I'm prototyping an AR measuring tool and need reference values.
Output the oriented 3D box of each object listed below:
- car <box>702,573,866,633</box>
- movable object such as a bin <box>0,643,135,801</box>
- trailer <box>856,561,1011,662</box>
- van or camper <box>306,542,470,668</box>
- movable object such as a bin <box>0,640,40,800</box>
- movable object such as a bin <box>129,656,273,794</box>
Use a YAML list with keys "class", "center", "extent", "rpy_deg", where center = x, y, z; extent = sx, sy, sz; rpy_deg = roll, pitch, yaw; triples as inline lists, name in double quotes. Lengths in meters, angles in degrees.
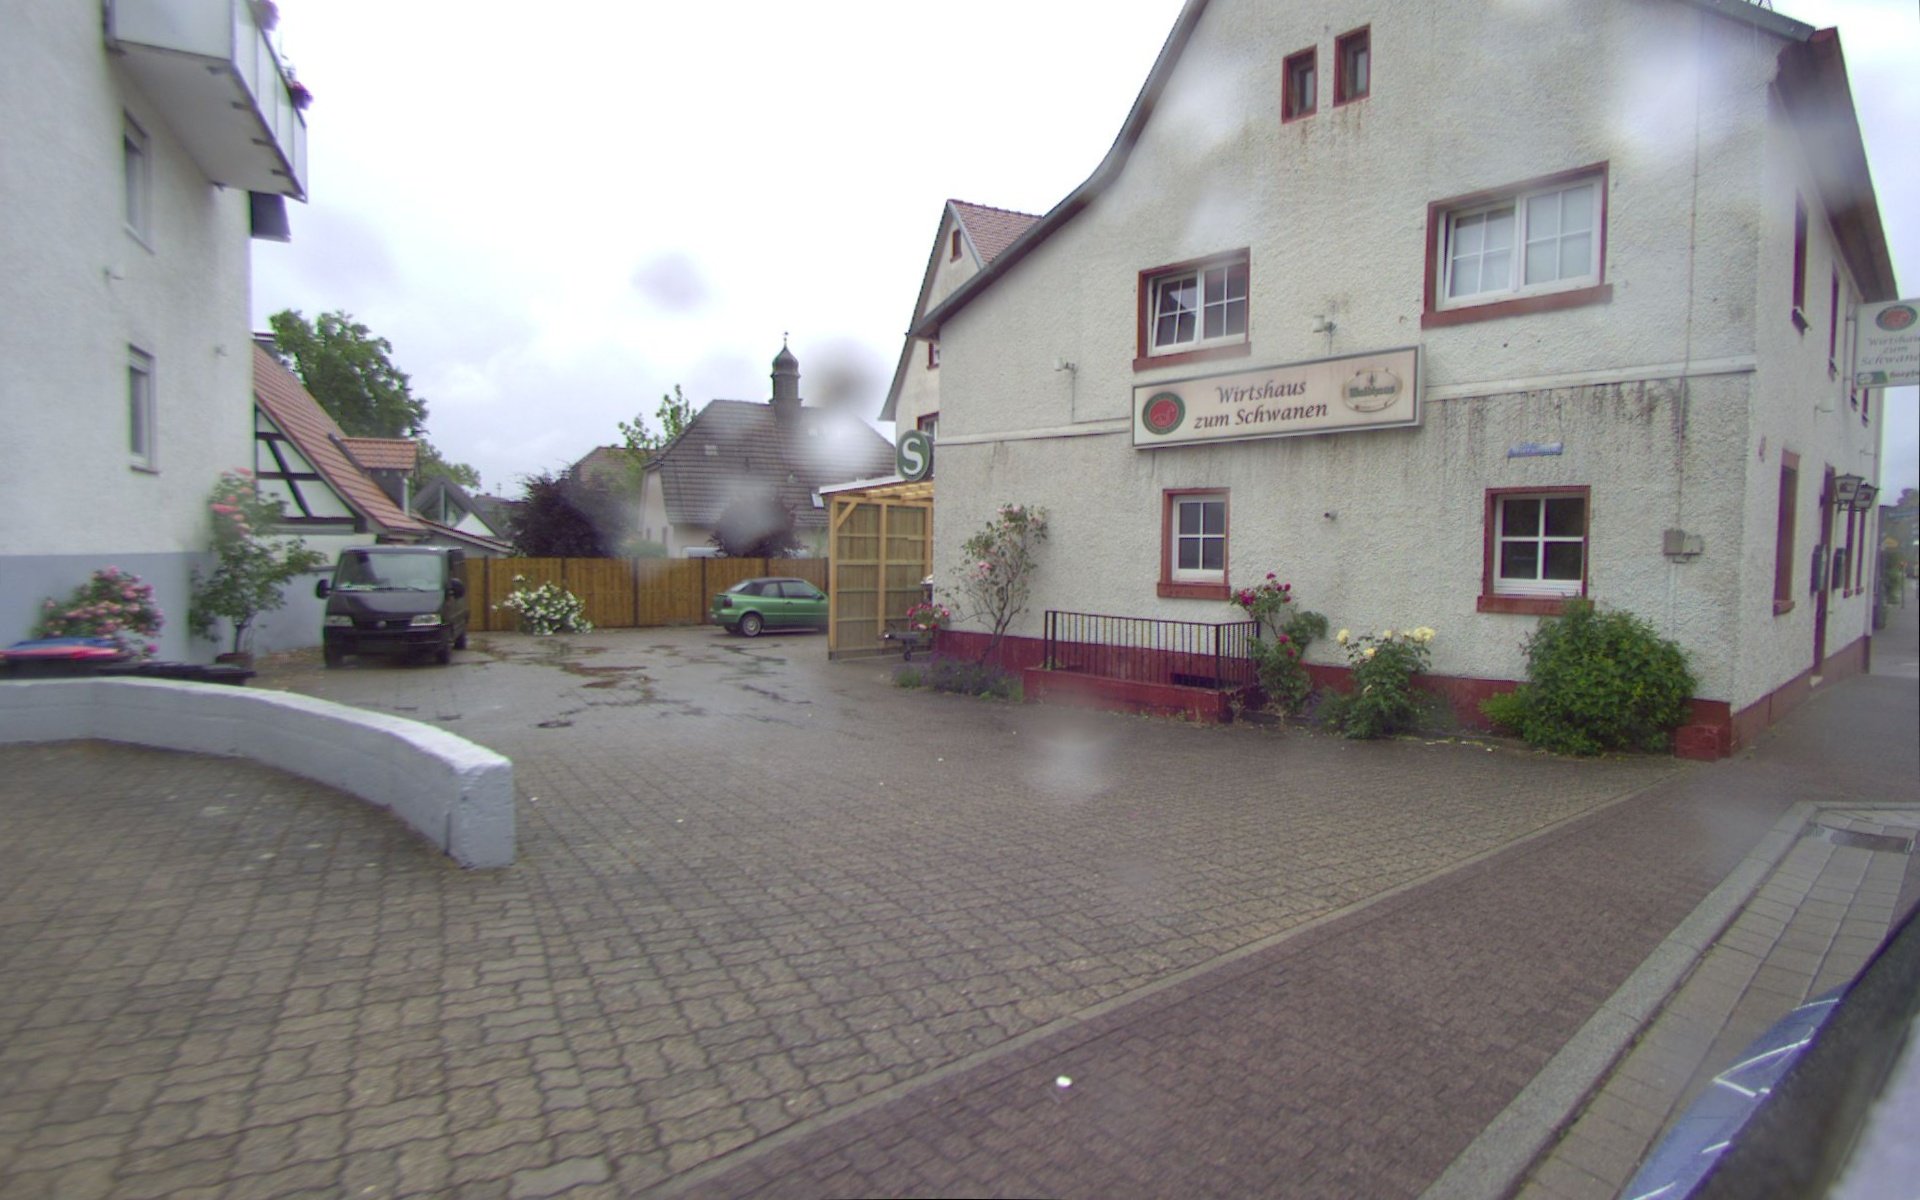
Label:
- class: "car"
  center: [-4.433, 0.021, 25.543]
  extent: [3.749, 1.393, 1.636]
  rpy_deg: [-1, 3, -29]
- class: "movable object such as a bin"
  center: [-6.690, 0.889, 7.600]
  extent: [0.558, 1.080, 0.627]
  rpy_deg: [0, 1, -17]
- class: "trailer"
  center: [-0.477, 0.178, 19.115]
  extent: [2.568, 1.763, 1.569]
  rpy_deg: [-1, 1, -45]
- class: "van or camper"
  center: [-10.545, -0.021, 19.051]
  extent: [2.154, 2.038, 4.864]
  rpy_deg: [0, 2, -23]
- class: "movable object such as a bin"
  center: [-7.413, 0.885, 7.514]
  extent: [0.676, 1.132, 0.627]
  rpy_deg: [0, 1, -21]
- class: "movable object such as a bin"
  center: [-5.772, 0.933, 7.727]
  extent: [0.643, 0.960, 0.626]
  rpy_deg: [0, 1, -5]
